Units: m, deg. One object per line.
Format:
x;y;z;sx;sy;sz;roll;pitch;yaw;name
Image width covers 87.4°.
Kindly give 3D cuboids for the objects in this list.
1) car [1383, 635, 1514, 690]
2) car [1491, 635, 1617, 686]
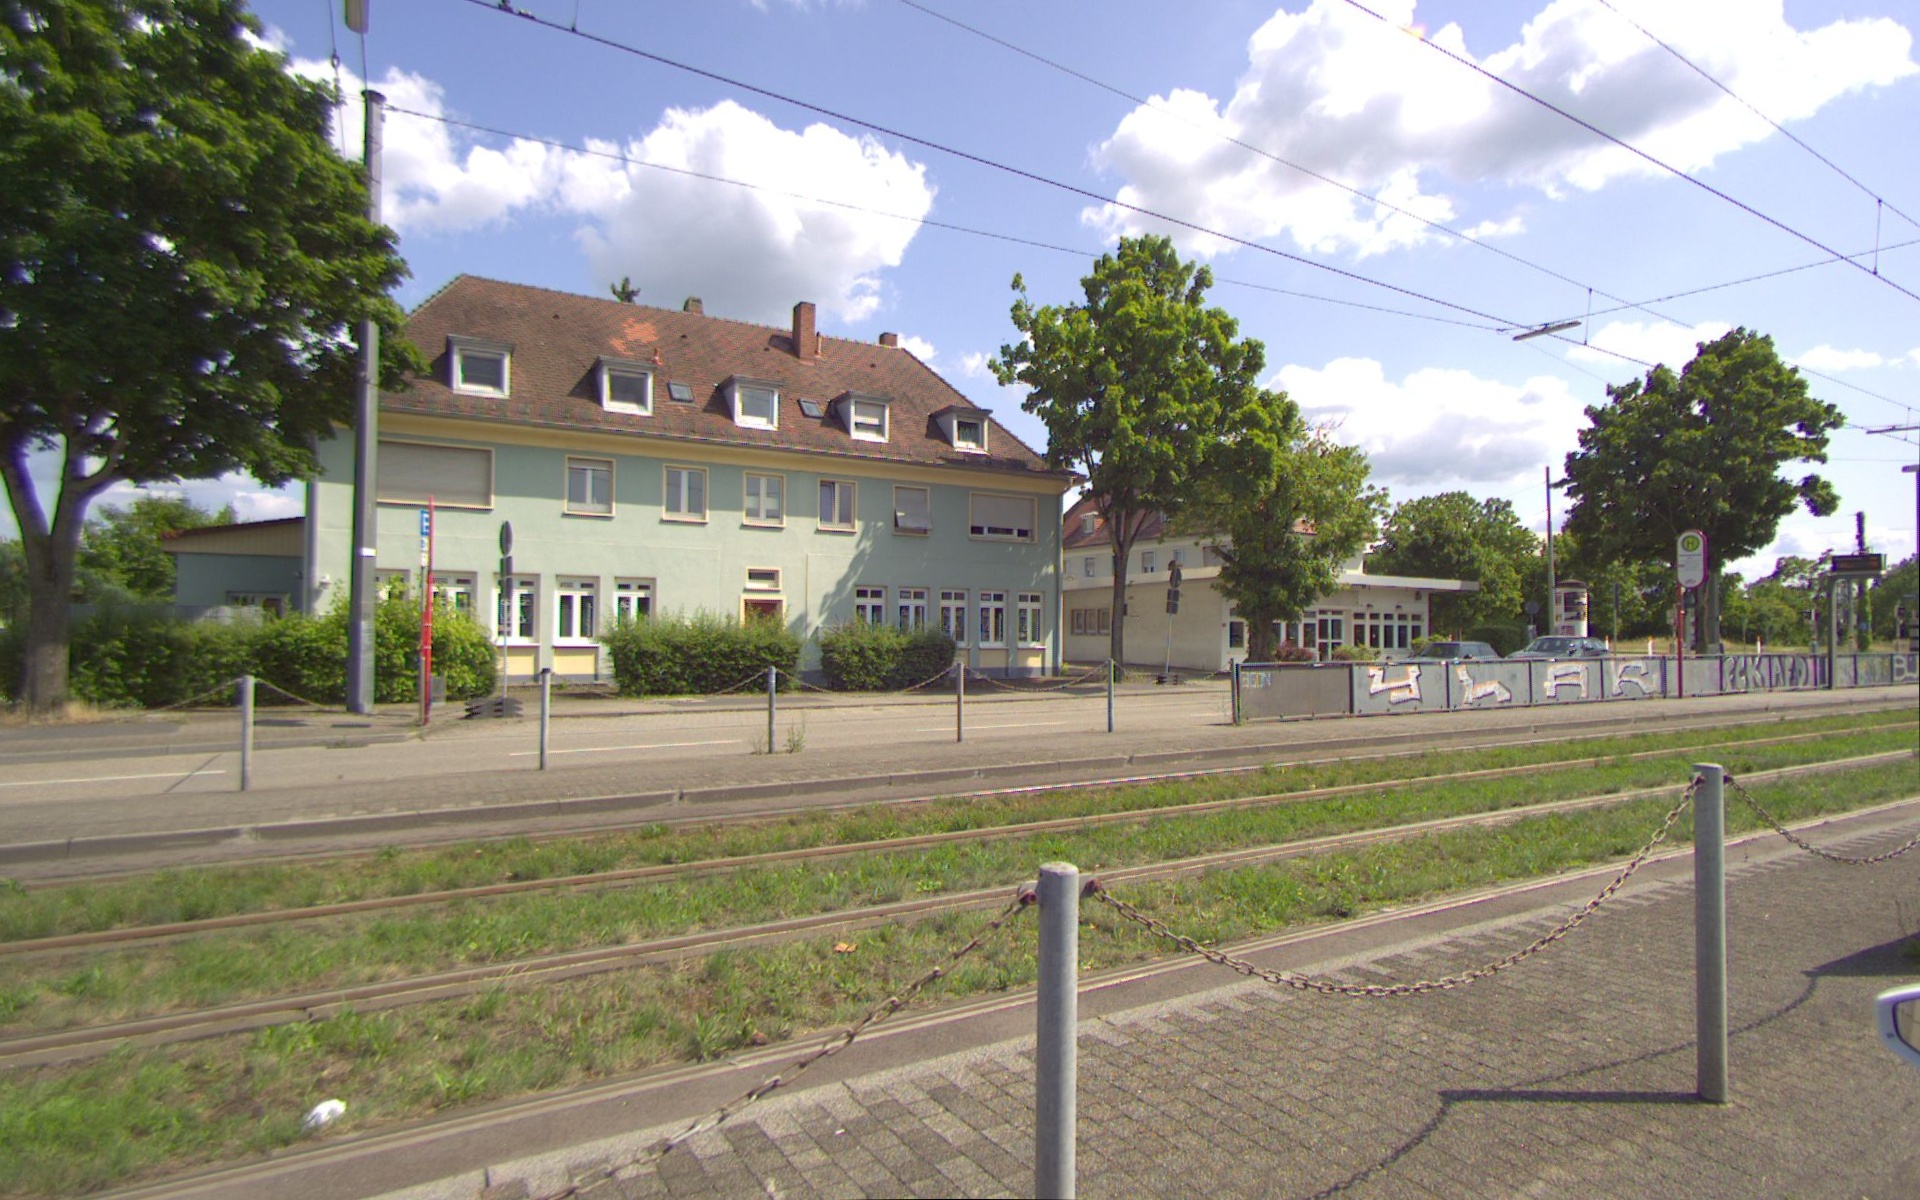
15.246;1.915;31.318;3.882;1.605;1.779;1;-2;-29;car
20.485;2.025;34.567;4.708;1.635;2.046;1;-2;-36;car
